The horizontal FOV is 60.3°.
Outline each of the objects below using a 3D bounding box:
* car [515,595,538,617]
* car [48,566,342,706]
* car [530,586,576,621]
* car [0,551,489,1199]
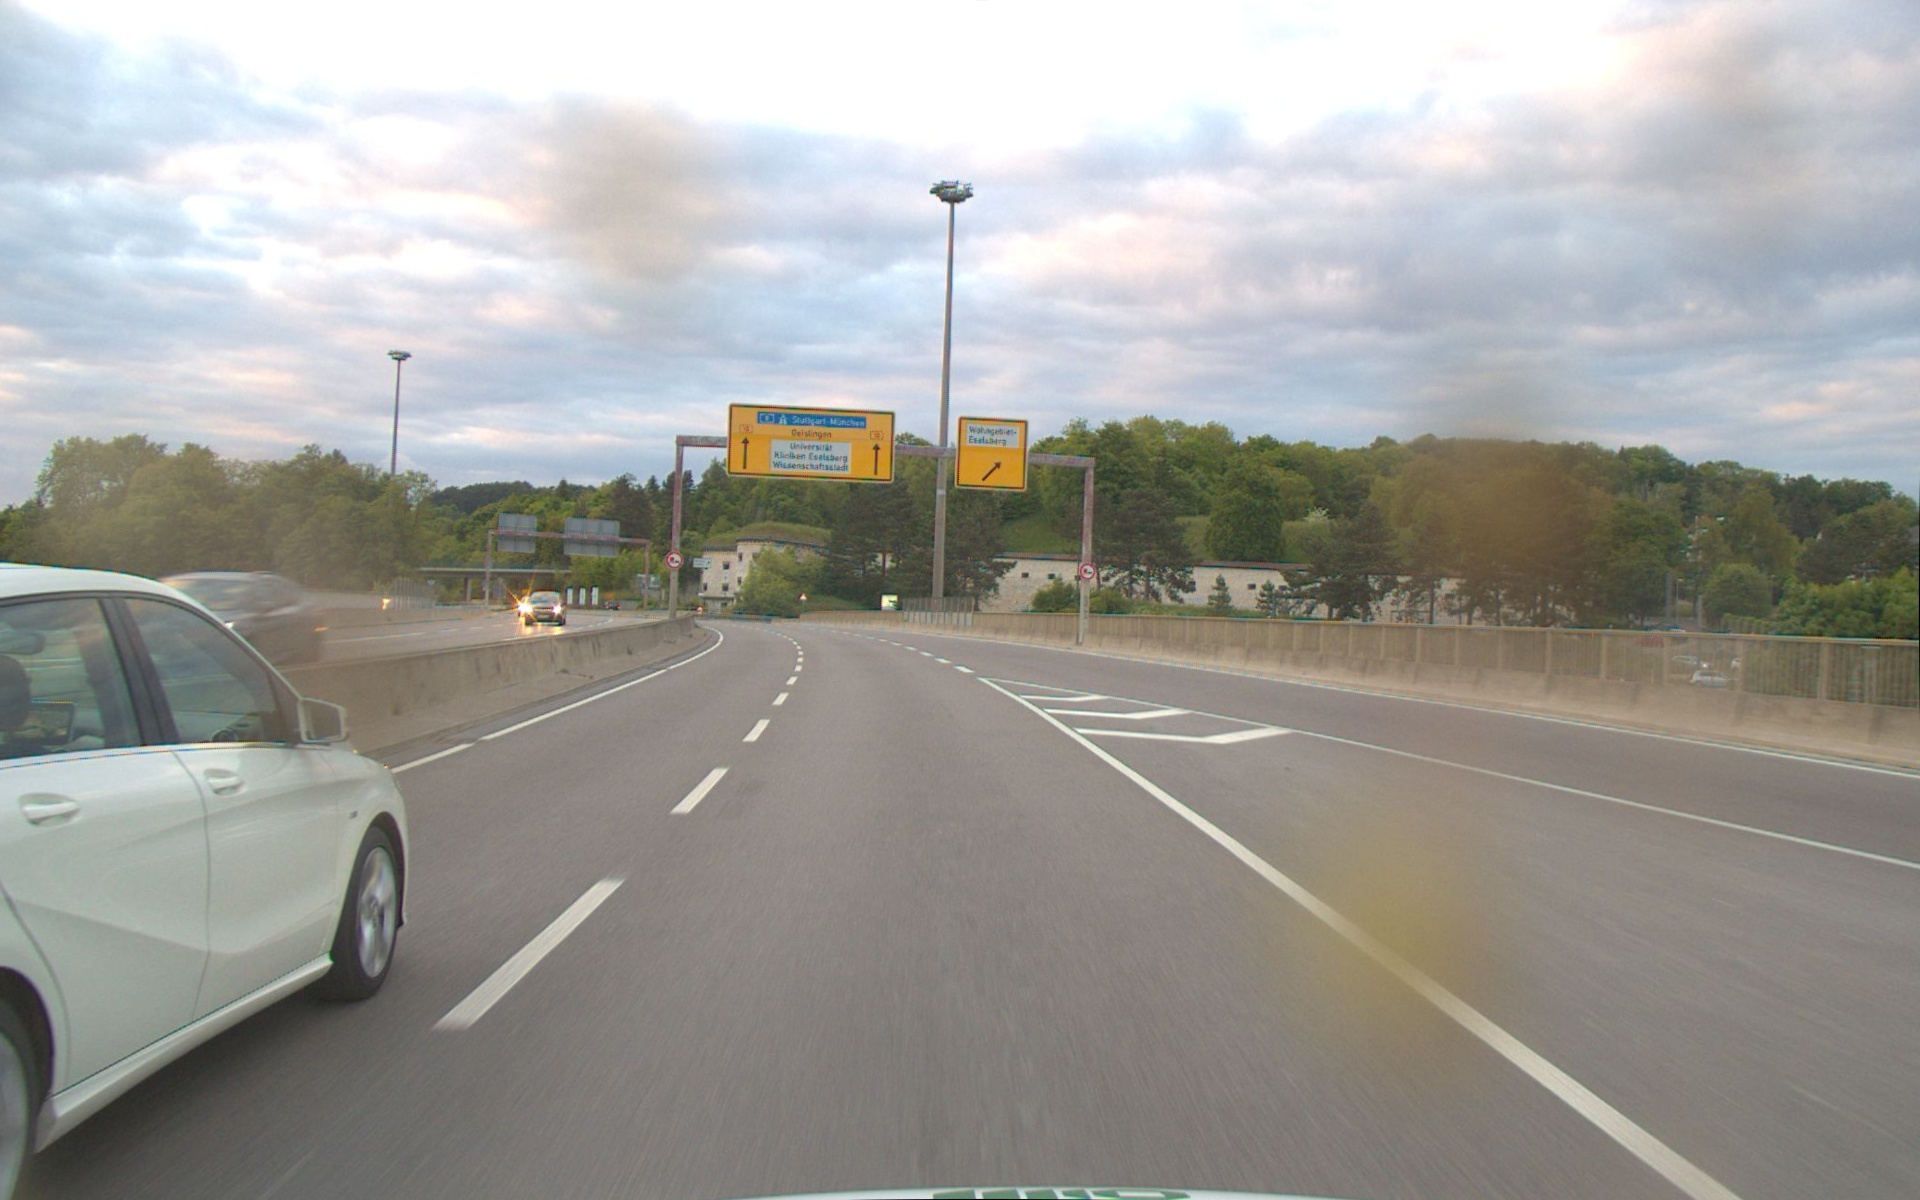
[{"bbox_3d":[-35.293,0.488,134.621,1.638,1.763,3.987,1,0,-13],"label":"car"},{"bbox_3d":[-9.615,0.421,21.238,1.775,1.561,4.544,1,0,-2],"label":"car"},{"bbox_3d":[-18.193,0.150,74.063,1.699,1.502,4.213,1,0,-10],"label":"car"},{"bbox_3d":[-2.878,0.683,5.039,1.657,1.564,4.781,0,0,-2],"label":"car"}]
